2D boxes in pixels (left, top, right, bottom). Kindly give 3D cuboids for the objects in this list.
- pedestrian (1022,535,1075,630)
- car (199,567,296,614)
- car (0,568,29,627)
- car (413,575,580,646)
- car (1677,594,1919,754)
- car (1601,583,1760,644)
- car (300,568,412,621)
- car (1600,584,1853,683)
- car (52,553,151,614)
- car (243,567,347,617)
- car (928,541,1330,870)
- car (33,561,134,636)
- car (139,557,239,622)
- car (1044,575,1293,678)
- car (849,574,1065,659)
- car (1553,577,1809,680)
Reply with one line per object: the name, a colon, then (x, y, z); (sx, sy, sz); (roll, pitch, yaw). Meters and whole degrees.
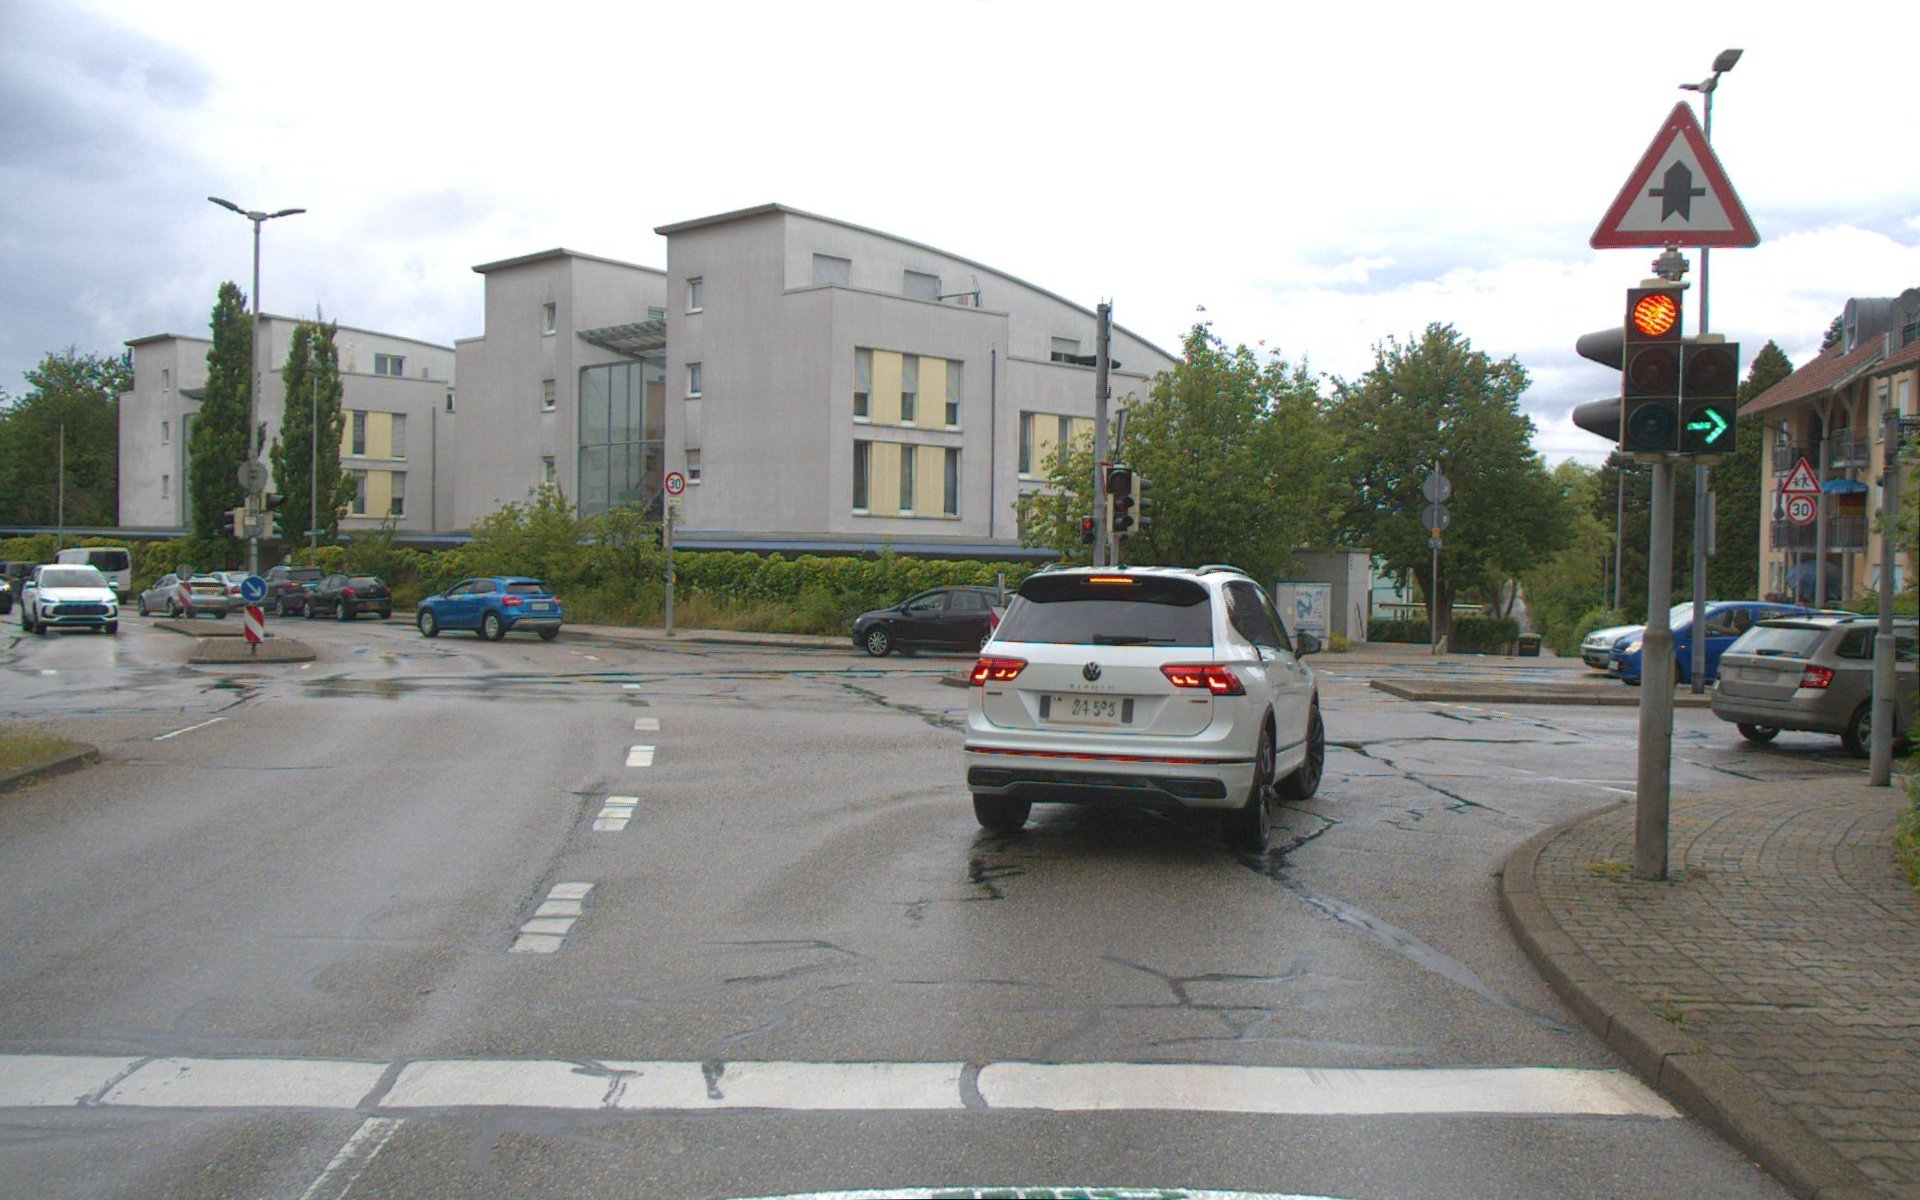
pedestrian: (1.953, -0.389, 36.486); (0.786, 2.048, 0.846); (2, 3, 37)
car: (-25.965, -0.379, 60.239); (1.985, 1.582, 3.935); (-2, 3, -44)
car: (-32.961, -0.110, 56.029); (1.979, 1.847, 3.947); (-1, 2, -37)
car: (-11.321, 0.214, 40.338); (3.922, 1.582, 1.992); (1, 2, 37)
car: (10.331, 0.806, 18.707); (3.930, 1.535, 1.761); (1, 4, -22)
car: (31.741, 0.551, 73.084); (5.874, 2.238, 2.855); (4, 2, 12)
car: (-19.632, -0.221, 53.721); (1.985, 1.582, 3.935); (-2, 3, -44)
car: (12.226, 0.508, 26.533); (3.356, 1.482, 1.526); (1, 0, 7)
car: (-36.835, -0.702, 70.921); (2.579, 2.456, 5.175); (-1, 0, -42)
car: (-22.871, -0.316, 56.816); (1.985, 1.582, 3.935); (-2, 3, -44)
car: (1.358, 0.556, 11.190); (1.880, 1.752, 4.267); (1, 0, 17)
car: (-21.722, -0.072, 40.913); (1.974, 1.668, 3.958); (1, 2, -31)
car: (-24.987, -0.366, 53.531); (1.981, 1.788, 3.944); (0, 5, -40)
car: (3.404, 0.408, 27.573); (3.904, 1.527, 1.926); (2, 1, 1)
car: (-0.051, 0.302, 33.485); (3.905, 1.579, 2.000); (0, 2, 22)
car: (13.332, 0.509, 30.687); (3.919, 1.699, 1.993); (2, 1, -14)
